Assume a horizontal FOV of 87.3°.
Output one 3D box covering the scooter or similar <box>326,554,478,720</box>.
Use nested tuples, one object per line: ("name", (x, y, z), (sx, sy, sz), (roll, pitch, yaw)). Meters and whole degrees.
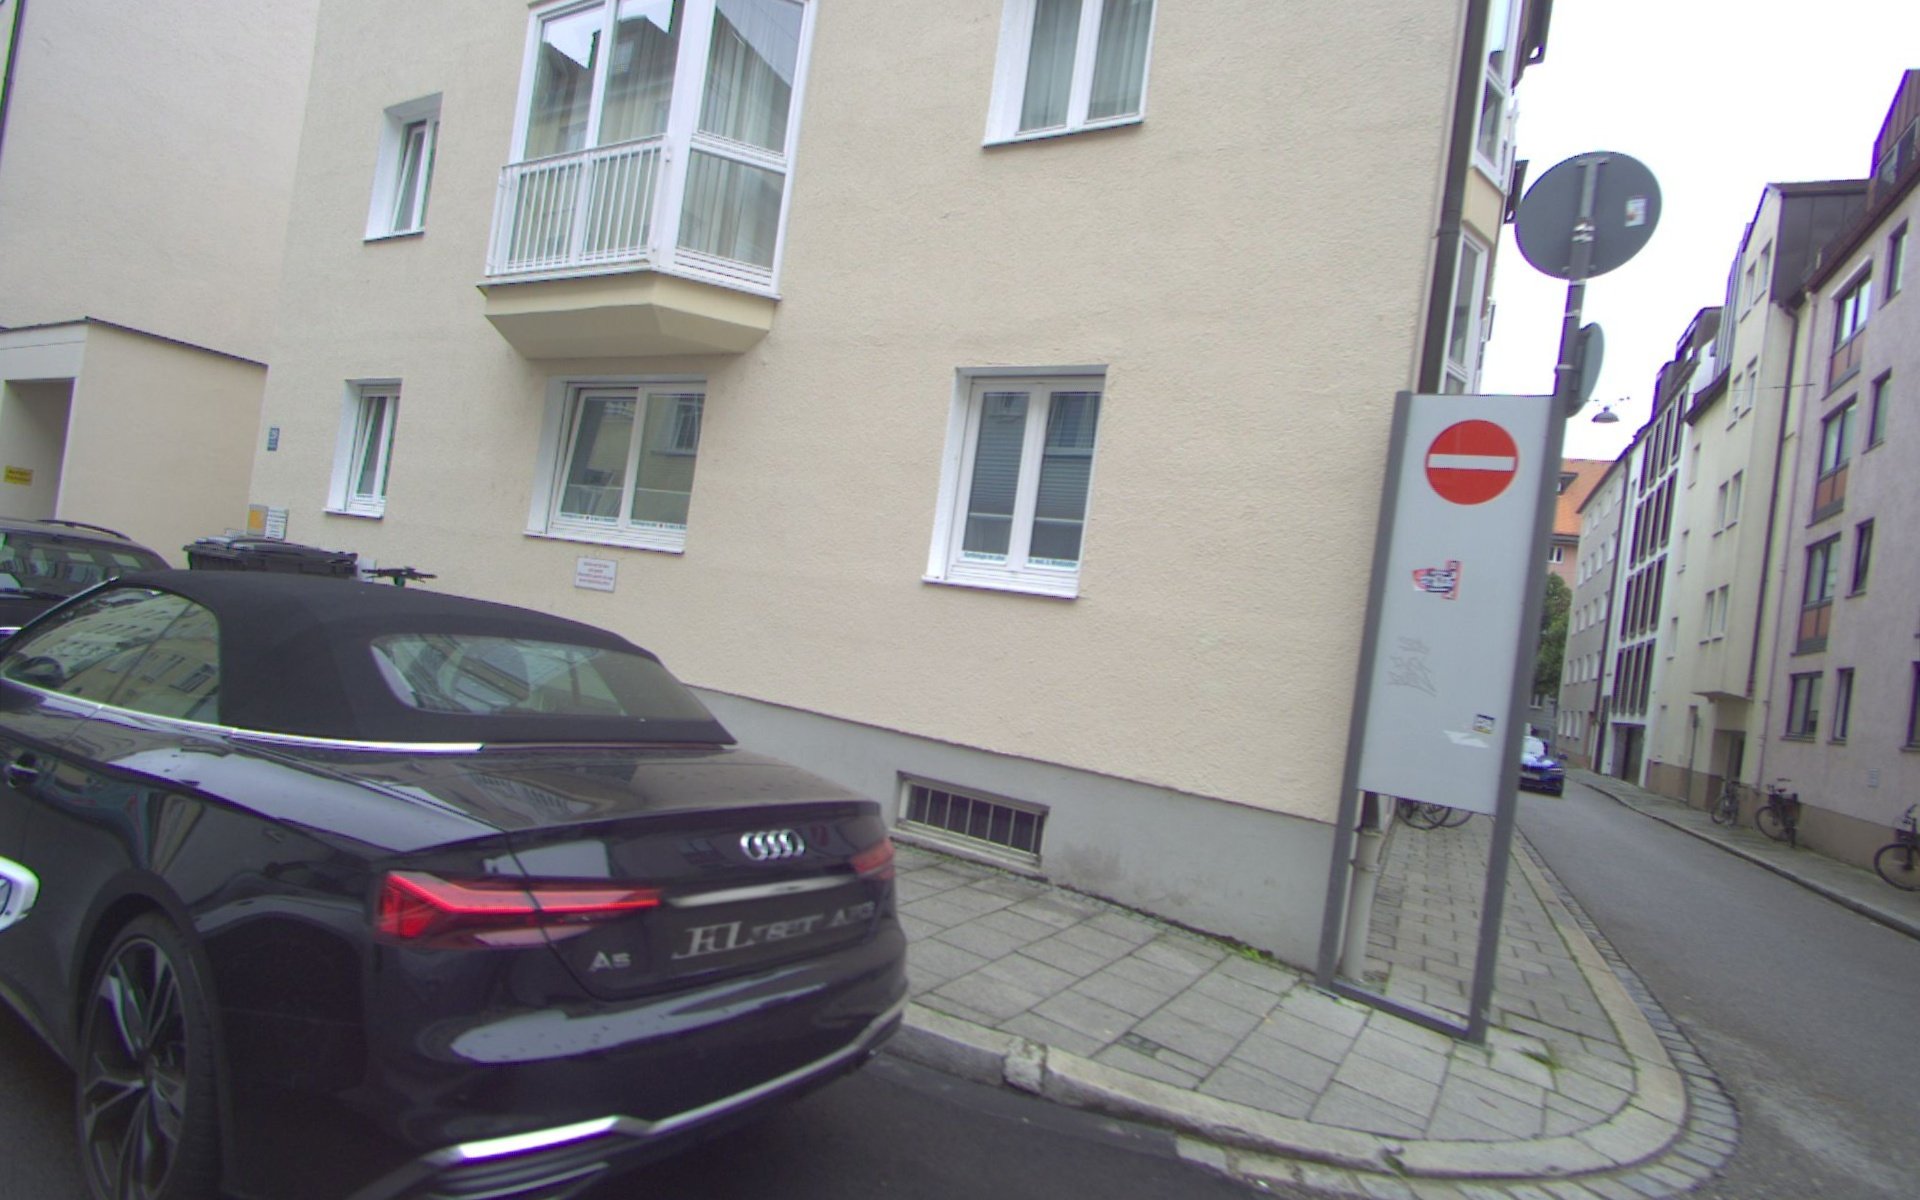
("scooter or similar", (-4.834, 0.311, 8.703), (1.118, 1.282, 0.576), (6, 0, 32))

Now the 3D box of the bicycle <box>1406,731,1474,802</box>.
("bicycle", (9.262, 3.192, 19.488), (0.447, 1.099, 1.725), (8, -2, 4))

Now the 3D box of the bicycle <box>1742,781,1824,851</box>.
("bicycle", (15.738, 4.102, 19.289), (0.638, 1.035, 1.909), (8, -2, 24))

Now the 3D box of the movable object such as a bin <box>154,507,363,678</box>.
("movable object such as a bin", (-6.783, -0.071, 9.733), (1.560, 1.440, 1.033), (6, 0, 32))

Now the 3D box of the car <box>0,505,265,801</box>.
("car", (-6.646, 0.091, 6.410), (4.454, 1.487, 1.722), (7, -3, 29))

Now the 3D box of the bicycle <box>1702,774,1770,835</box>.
("bicycle", (17.087, 4.482, 22.191), (0.638, 1.035, 1.909), (8, -2, 24))

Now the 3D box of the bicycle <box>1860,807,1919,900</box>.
("bicycle", (13.044, 3.459, 13.601), (0.638, 1.035, 1.909), (8, -2, 24))

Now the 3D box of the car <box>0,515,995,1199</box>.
("car", (-2.280, 0.589, 3.546), (4.338, 1.421, 1.838), (6, -4, 31))
